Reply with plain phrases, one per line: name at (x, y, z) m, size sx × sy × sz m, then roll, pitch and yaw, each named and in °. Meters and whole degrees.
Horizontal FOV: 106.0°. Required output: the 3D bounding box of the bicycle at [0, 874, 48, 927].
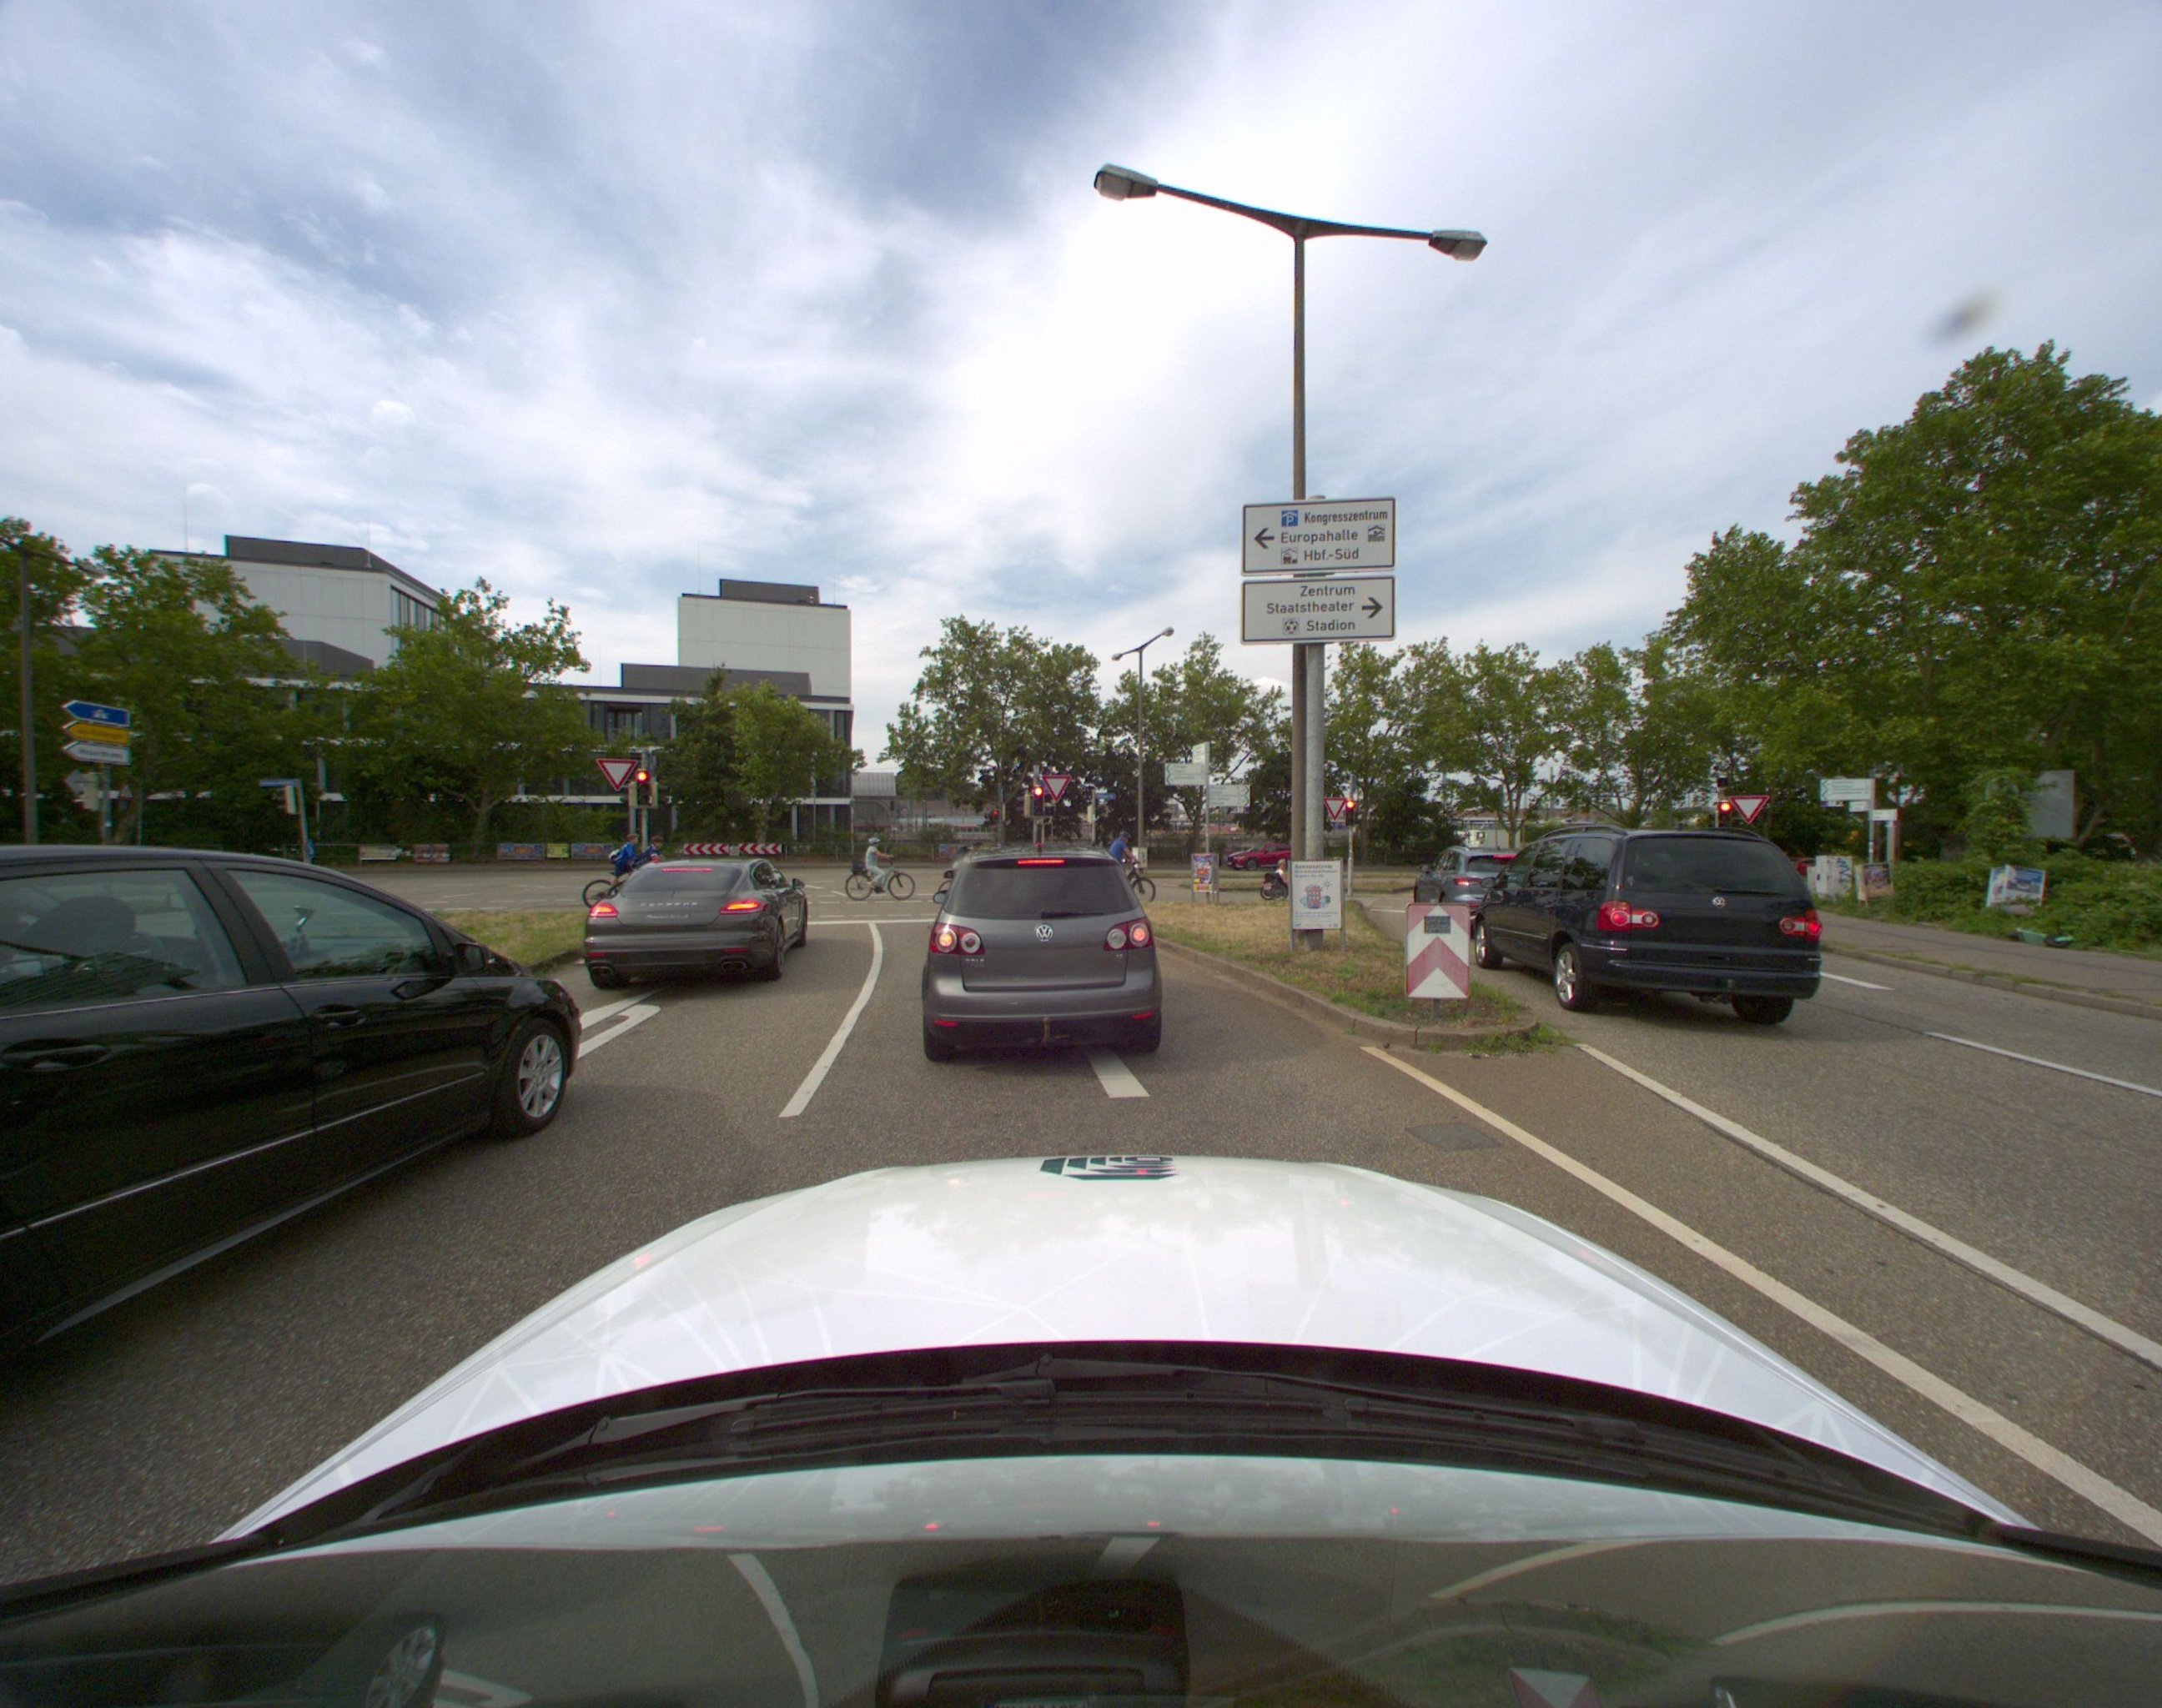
bicycle at (-20.888, 0.882, 14.951) m, size 2.238 × 0.952 × 0.805 m, roll -1°, pitch 0°, yaw -23°

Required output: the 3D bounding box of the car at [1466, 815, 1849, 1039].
car at (5.578, 0.571, 8.607) m, size 1.739 × 1.724 × 4.151 m, roll 2°, pitch 0°, yaw 11°

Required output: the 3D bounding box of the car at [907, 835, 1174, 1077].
car at (-0.457, 0.645, 7.368) m, size 1.739 × 1.546 × 4.073 m, roll -1°, pitch 0°, yaw -6°

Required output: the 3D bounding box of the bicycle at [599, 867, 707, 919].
bicycle at (-8.919, 0.802, 17.048) m, size 1.905 × 1.013 × 0.625 m, roll -1°, pitch 1°, yaw -17°

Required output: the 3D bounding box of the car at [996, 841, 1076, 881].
car at (-1.691, 0.235, 30.706) m, size 2.719 × 1.422 × 1.490 m, roll -1°, pitch 0°, yaw -19°

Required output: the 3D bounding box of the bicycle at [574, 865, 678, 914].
bicycle at (-10.020, 0.767, 18.017) m, size 1.907 × 1.013 × 0.624 m, roll -1°, pitch 1°, yaw -19°

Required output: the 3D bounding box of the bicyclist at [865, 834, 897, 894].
bicyclist at (-5.371, 0.265, 21.881) m, size 0.781 × 1.581 × 0.651 m, roll -1°, pitch 1°, yaw -18°

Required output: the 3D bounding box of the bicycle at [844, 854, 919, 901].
bicycle at (-5.362, 0.616, 21.902) m, size 1.906 × 1.210 × 0.639 m, roll -1°, pitch 1°, yaw -19°

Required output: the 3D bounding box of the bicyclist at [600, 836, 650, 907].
bicyclist at (-10.063, 0.362, 18.007) m, size 0.841 × 1.529 × 0.624 m, roll -1°, pitch 1°, yaw -19°

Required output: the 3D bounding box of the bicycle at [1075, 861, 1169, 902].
bicycle at (1.035, 0.681, 20.568) m, size 2.233 × 0.952 × 0.807 m, roll -1°, pitch 0°, yaw -17°

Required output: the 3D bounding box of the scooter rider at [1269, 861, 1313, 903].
scooter rider at (5.937, 0.780, 23.060) m, size 0.916 × 1.137 × 0.804 m, roll -1°, pitch 1°, yaw -16°

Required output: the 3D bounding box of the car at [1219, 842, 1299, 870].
car at (9.763, 0.076, 44.688) m, size 3.963 × 1.448 × 1.692 m, roll -1°, pitch 0°, yaw -19°

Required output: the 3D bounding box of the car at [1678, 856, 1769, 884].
car at (33.698, 0.808, 42.728) m, size 4.064 × 1.368 × 1.694 m, roll -1°, pitch 0°, yaw -15°

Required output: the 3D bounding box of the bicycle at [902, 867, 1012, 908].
bicycle at (-3.006, 0.794, 19.771) m, size 2.589 × 0.890 × 0.701 m, roll -1°, pitch 1°, yaw -17°

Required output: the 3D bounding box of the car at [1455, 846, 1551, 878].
car at (20.180, 0.369, 38.982) m, size 4.067 × 1.450 × 1.693 m, roll -1°, pitch 0°, yaw -17°

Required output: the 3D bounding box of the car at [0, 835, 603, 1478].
car at (-3.648, 0.727, 2.969) m, size 1.755 × 1.575 × 4.028 m, roll 0°, pitch 1°, yaw -6°

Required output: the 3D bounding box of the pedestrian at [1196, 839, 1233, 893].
pedestrian at (4.375, 0.370, 26.648) m, size 1.038 × 1.710 × 0.858 m, roll 1°, pitch 1°, yaw 19°

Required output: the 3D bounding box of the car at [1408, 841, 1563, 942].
car at (7.394, 0.608, 15.305) m, size 1.679 × 1.585 × 4.171 m, roll 2°, pitch 0°, yaw 13°

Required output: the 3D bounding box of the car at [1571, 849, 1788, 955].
car at (10.881, 0.772, 15.197) m, size 1.738 × 1.643 × 4.152 m, roll 2°, pitch 0°, yaw 13°

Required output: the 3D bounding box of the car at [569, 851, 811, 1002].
car at (-4.628, 0.696, 10.436) m, size 1.821 × 1.414 × 4.754 m, roll 0°, pitch 1°, yaw -13°

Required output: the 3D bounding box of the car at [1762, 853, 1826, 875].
car at (50.373, 0.669, 57.540) m, size 3.963 × 1.448 × 1.692 m, roll -1°, pitch 0°, yaw -19°

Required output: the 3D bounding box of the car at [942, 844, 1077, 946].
car at (-1.390, 0.598, 14.113) m, size 1.743 × 1.482 × 4.063 m, roll -1°, pitch 0°, yaw -14°

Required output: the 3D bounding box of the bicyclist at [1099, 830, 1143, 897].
bicyclist at (0.999, 0.221, 20.561) m, size 0.883 × 1.656 × 0.807 m, roll -1°, pitch 0°, yaw -17°

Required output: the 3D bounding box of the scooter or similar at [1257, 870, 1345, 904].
scooter or similar at (6.247, 0.919, 23.143) m, size 2.384 × 0.849 × 0.804 m, roll -1°, pitch 1°, yaw -17°

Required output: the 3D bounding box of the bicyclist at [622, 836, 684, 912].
bicyclist at (-8.937, 0.405, 17.024) m, size 1.018 × 1.539 × 0.625 m, roll -1°, pitch 1°, yaw -17°

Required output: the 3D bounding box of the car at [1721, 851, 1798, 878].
car at (42.478, 0.641, 51.008) m, size 3.907 × 1.596 × 1.902 m, roll -1°, pitch 1°, yaw -16°

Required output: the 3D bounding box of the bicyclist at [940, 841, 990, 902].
bicyclist at (-2.832, 0.401, 19.818) m, size 1.116 × 1.436 × 0.644 m, roll -1°, pitch 1°, yaw -17°
